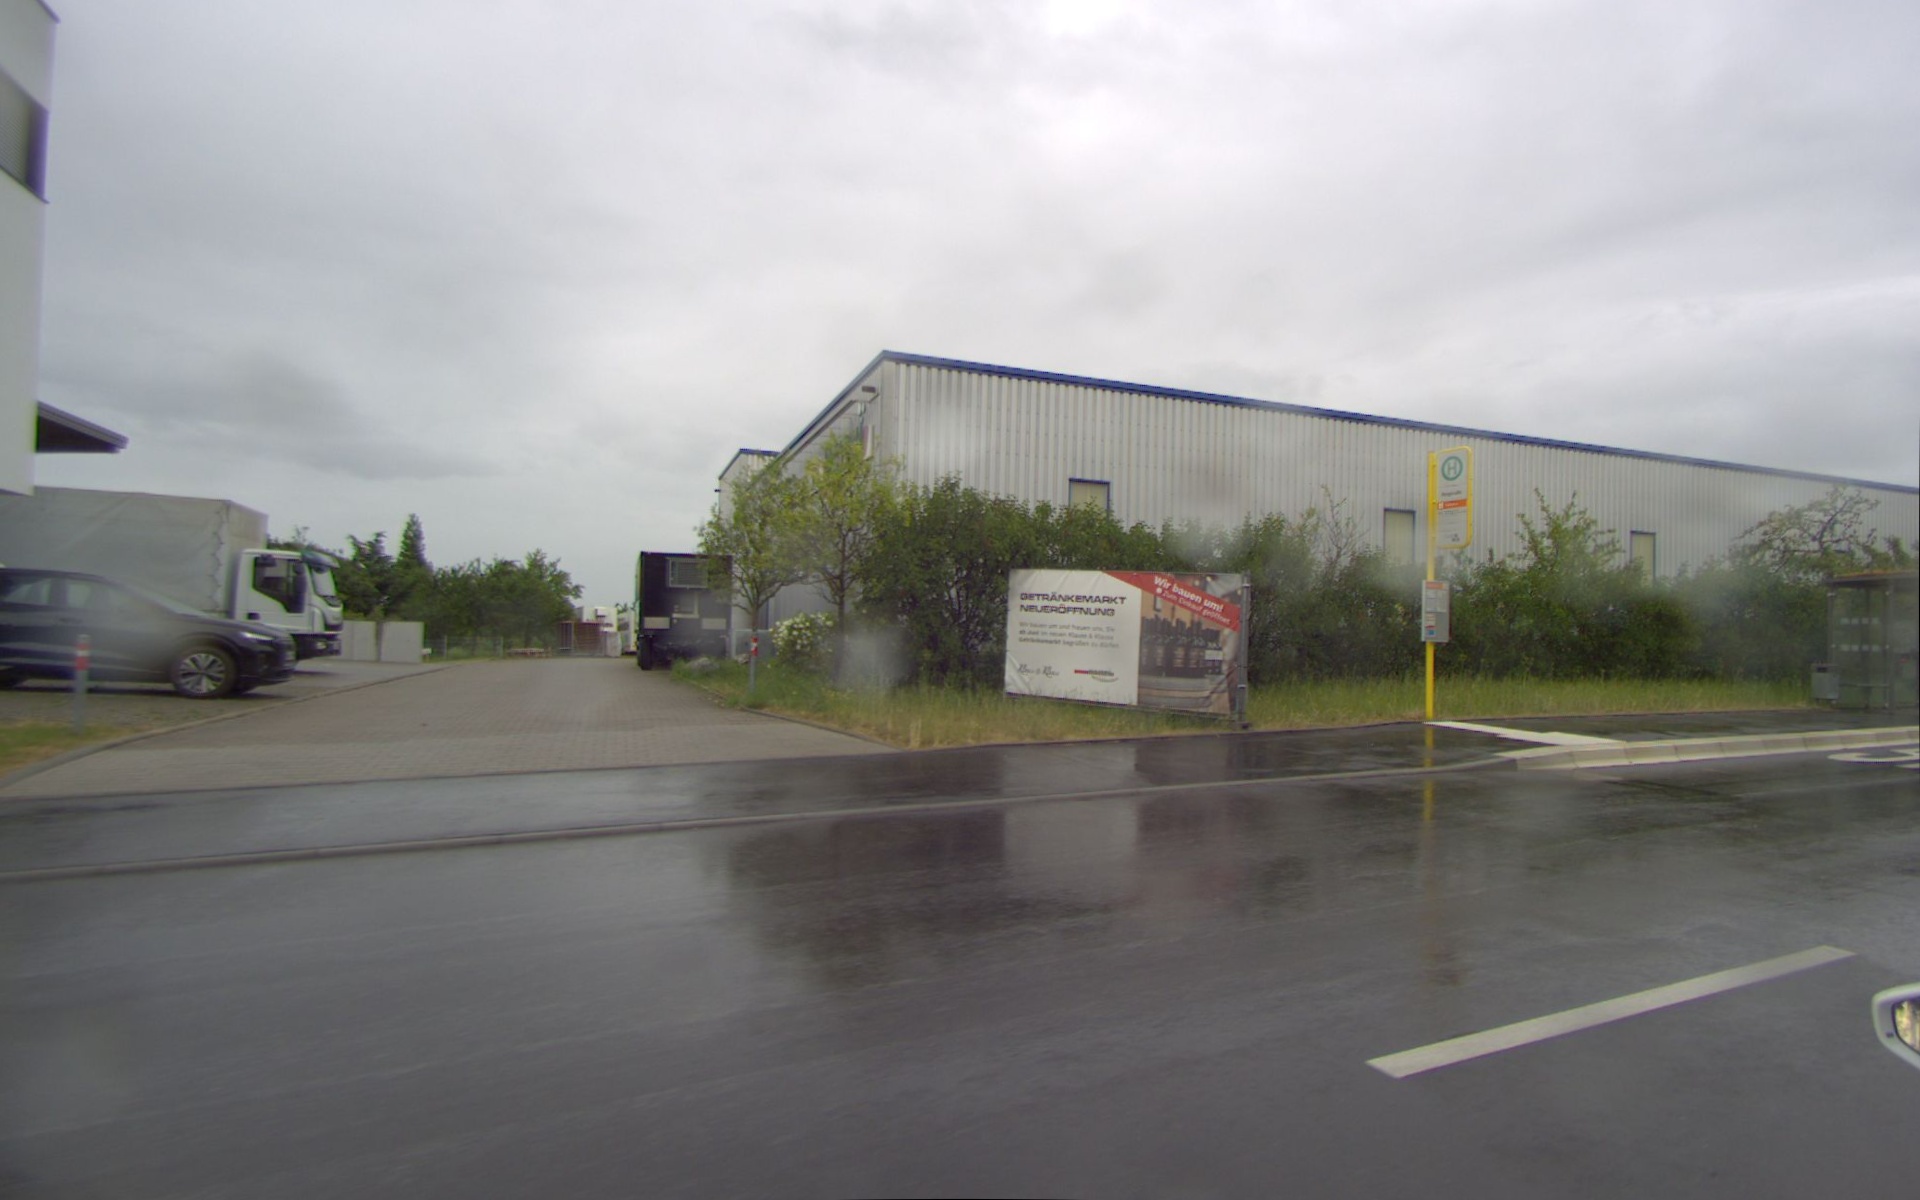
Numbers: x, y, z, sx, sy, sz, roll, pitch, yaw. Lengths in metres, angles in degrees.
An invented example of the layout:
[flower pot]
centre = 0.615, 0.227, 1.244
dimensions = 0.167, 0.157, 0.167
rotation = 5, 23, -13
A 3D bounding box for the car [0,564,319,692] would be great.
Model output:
[car]
centre = -11.758, 0.374, 13.952
dimensions = 4.542, 1.617, 1.847
rotation = 1, -1, -24

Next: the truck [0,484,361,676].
[truck]
centre = -16.915, -0.323, 20.858
dimensions = 7.226, 3.624, 2.666
rotation = 1, -1, -21
